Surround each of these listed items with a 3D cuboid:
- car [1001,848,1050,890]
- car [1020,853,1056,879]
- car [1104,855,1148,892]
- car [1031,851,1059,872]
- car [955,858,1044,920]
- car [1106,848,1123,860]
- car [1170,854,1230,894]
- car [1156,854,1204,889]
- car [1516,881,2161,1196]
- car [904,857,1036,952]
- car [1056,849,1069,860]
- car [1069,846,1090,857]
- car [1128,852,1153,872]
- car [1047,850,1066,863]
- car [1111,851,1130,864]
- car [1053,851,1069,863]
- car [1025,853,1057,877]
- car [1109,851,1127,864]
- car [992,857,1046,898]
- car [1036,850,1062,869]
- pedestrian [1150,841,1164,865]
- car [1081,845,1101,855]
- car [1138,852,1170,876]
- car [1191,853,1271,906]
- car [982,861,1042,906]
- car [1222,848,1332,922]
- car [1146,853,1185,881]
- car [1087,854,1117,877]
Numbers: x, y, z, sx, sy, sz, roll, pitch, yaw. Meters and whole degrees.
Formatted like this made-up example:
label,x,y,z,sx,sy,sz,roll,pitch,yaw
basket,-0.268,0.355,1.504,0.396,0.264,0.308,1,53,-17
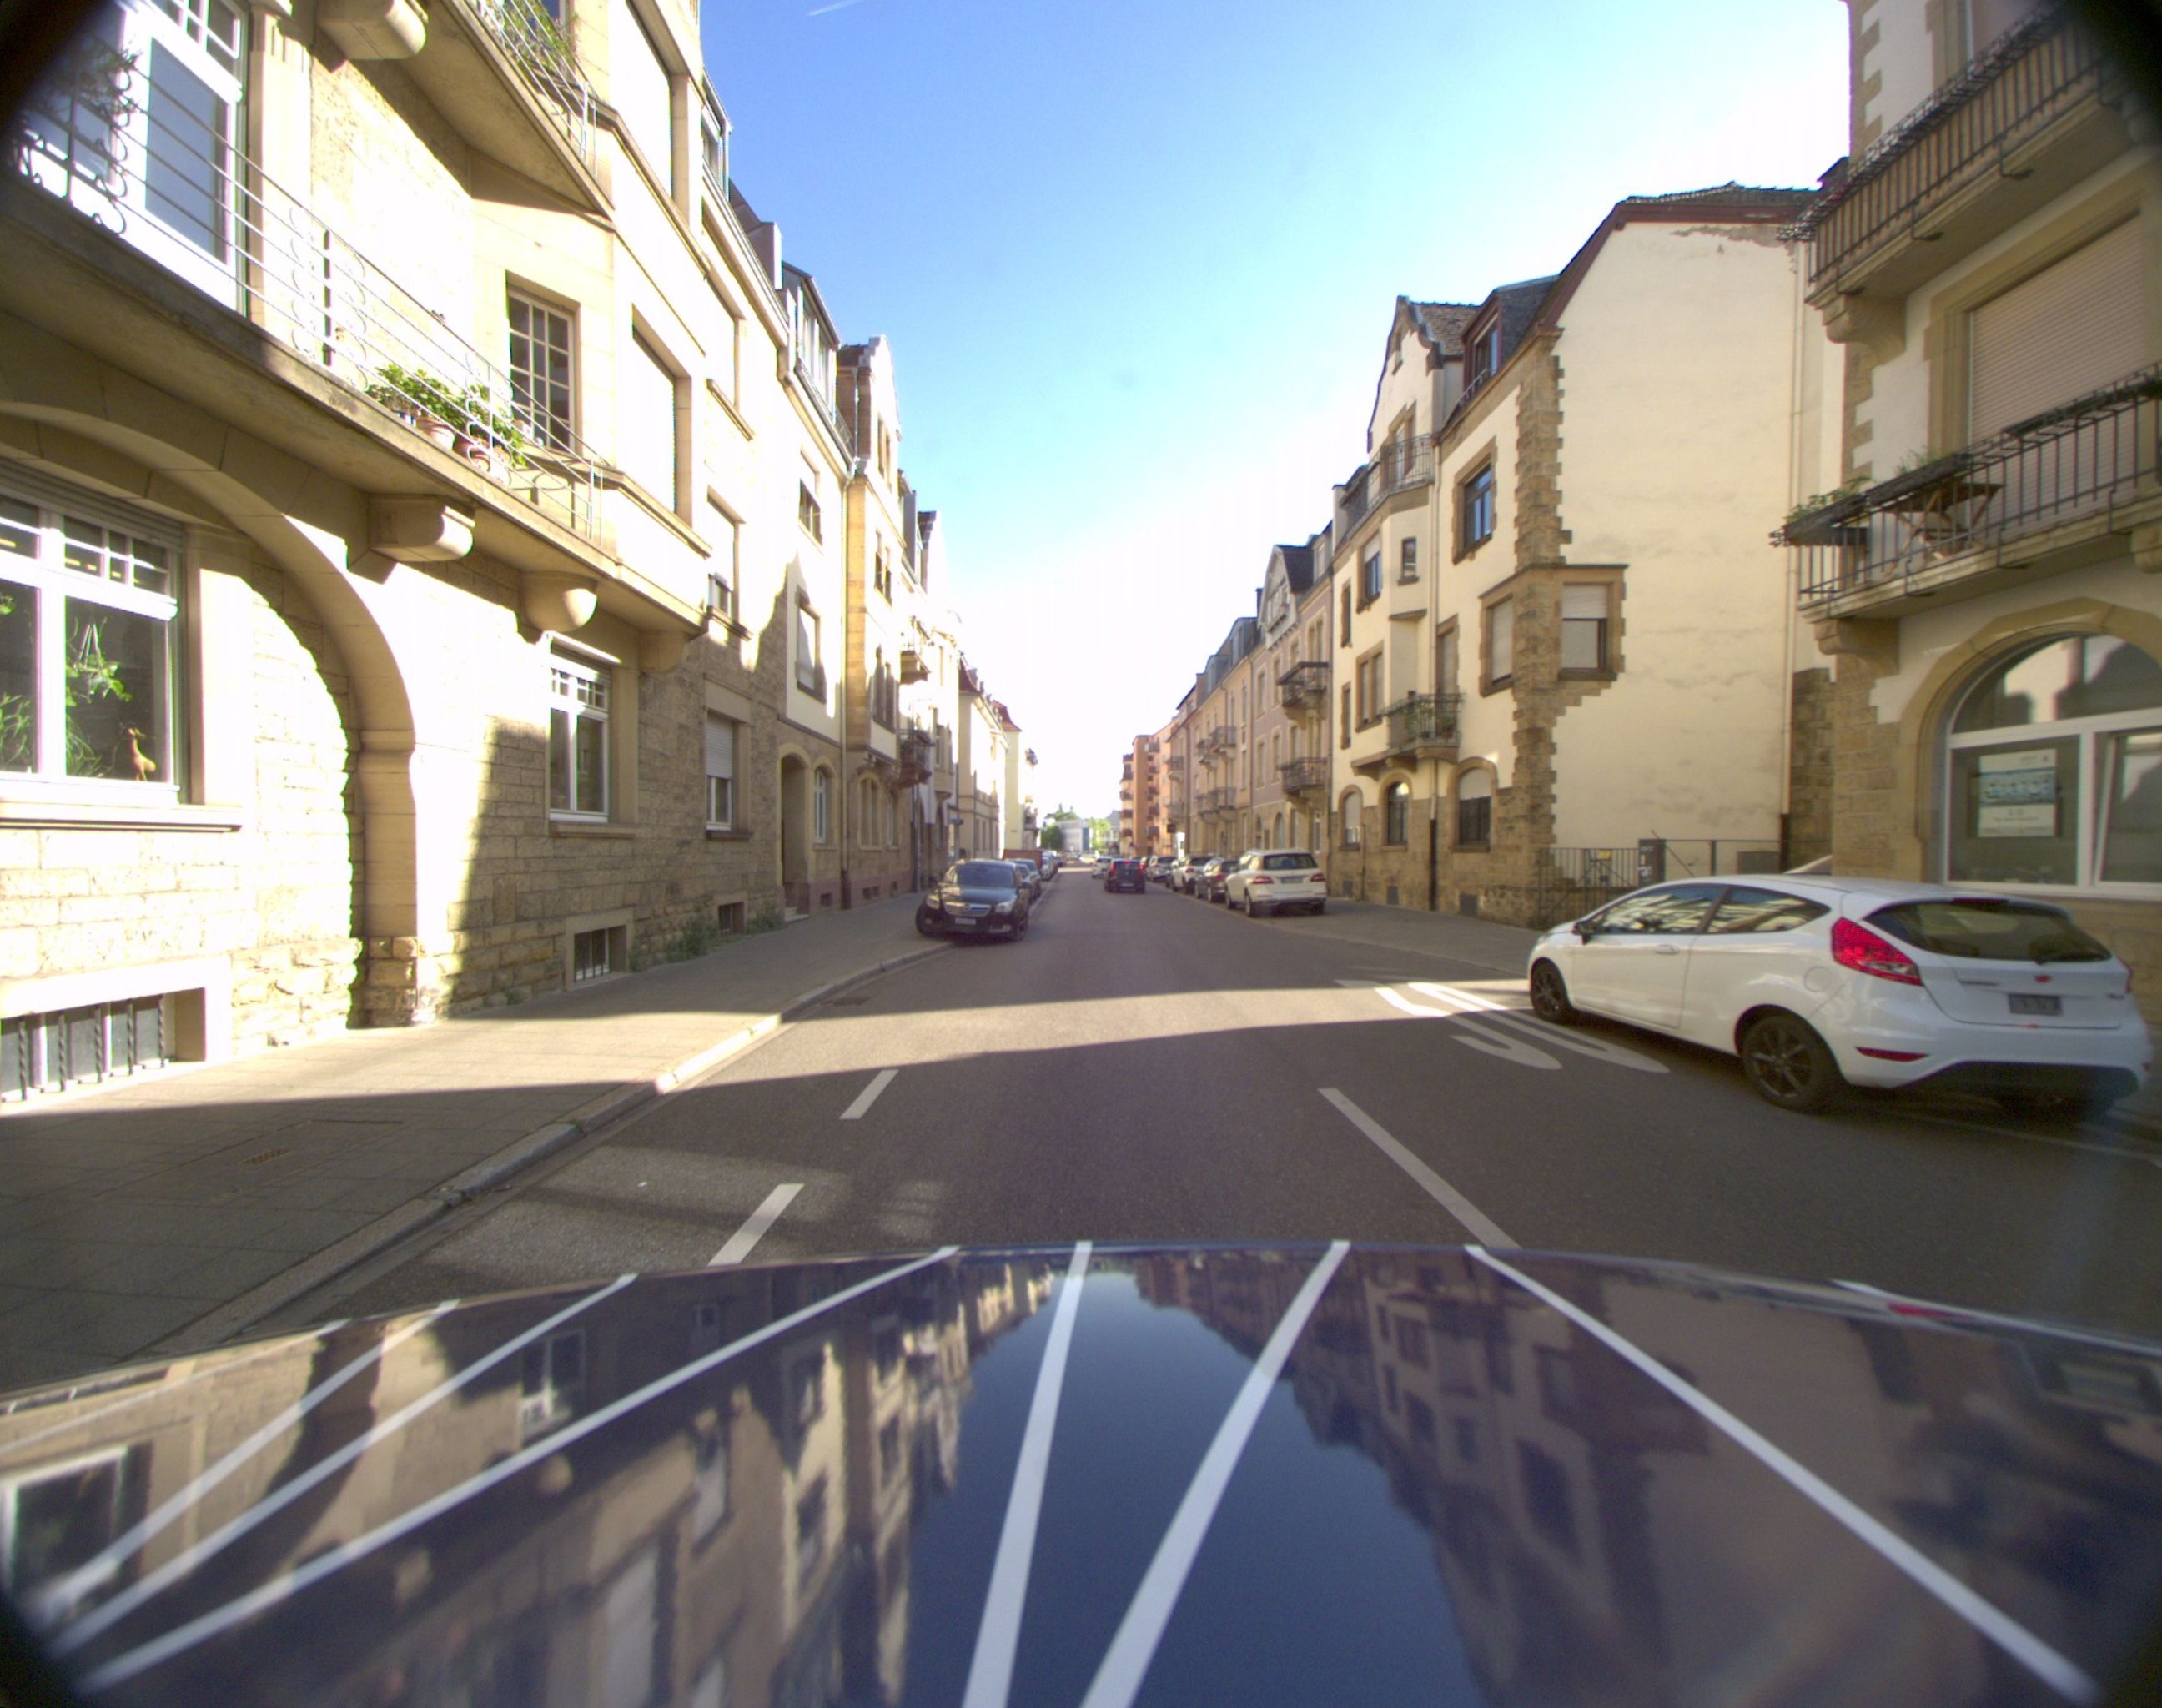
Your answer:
label,x,y,z,sx,sy,sz,roll,pitch,yaw
car,-2.559,0.649,35.813,2.005,1.828,4.320,1,1,-1
car,-2.653,0.716,47.870,2.005,1.500,4.320,1,1,-1
car,1.897,0.802,33.118,1.656,1.449,3.642,0,1,-1
car,-2.745,0.535,58.669,2.005,1.500,4.320,1,1,-1
car,-2.096,0.872,20.802,2.005,1.499,4.321,1,0,-1
car,4.494,0.002,101.953,2.005,1.500,4.320,1,1,-1
car,4.985,0.792,32.369,1.890,1.500,4.320,-2,1,1
car,4.856,0.814,37.809,1.857,1.491,4.318,-2,1,1
car,5.113,1.012,5.702,1.656,1.449,3.643,2,0,2
car,-2.036,0.881,15.200,2.024,1.500,4.111,2,1,-1
car,-2.943,0.069,123.339,2.005,1.722,4.320,1,1,-1
car,-0.296,-0.476,148.528,3.997,2.002,2.000,-2,1,0
car,4.892,0.639,62.976,1.793,1.500,4.320,-2,1,1
car,-2.845,0.266,88.982,2.005,1.500,4.320,1,1,-1
car,4.672,0.407,91.395,2.005,1.500,4.320,1,1,-1
car,-2.584,0.431,99.956,2.005,1.500,4.320,1,1,-1
car,-2.748,0.736,52.644,2.005,1.500,4.320,1,1,-1
car,4.622,0.390,96.209,2.005,1.500,4.320,1,1,-1
car,-2.384,0.889,30.123,1.824,1.415,4.320,1,1,-1
car,-2.672,0.451,64.502,2.005,1.500,4.320,1,1,-1
pedestrian,6.370,-0.077,63.749,0.952,2.002,1.066,-2,1,0
car,2.221,-0.930,169.586,3.993,2.002,2.002,-2,1,12
car,4.992,0.666,52.354,1.809,1.500,4.003,-2,1,1
car,5.124,0.818,26.548,1.890,1.500,4.320,-4,1,1
car,-2.233,0.925,25.381,1.661,1.272,3.729,1,1,-1
car,5.197,0.748,20.734,1.890,1.717,4.211,-2,1,1
car,5.021,0.731,45.835,1.890,1.500,4.320,-2,1,1
car,1.389,0.740,51.661,1.703,1.474,3.533,1,0,-4
